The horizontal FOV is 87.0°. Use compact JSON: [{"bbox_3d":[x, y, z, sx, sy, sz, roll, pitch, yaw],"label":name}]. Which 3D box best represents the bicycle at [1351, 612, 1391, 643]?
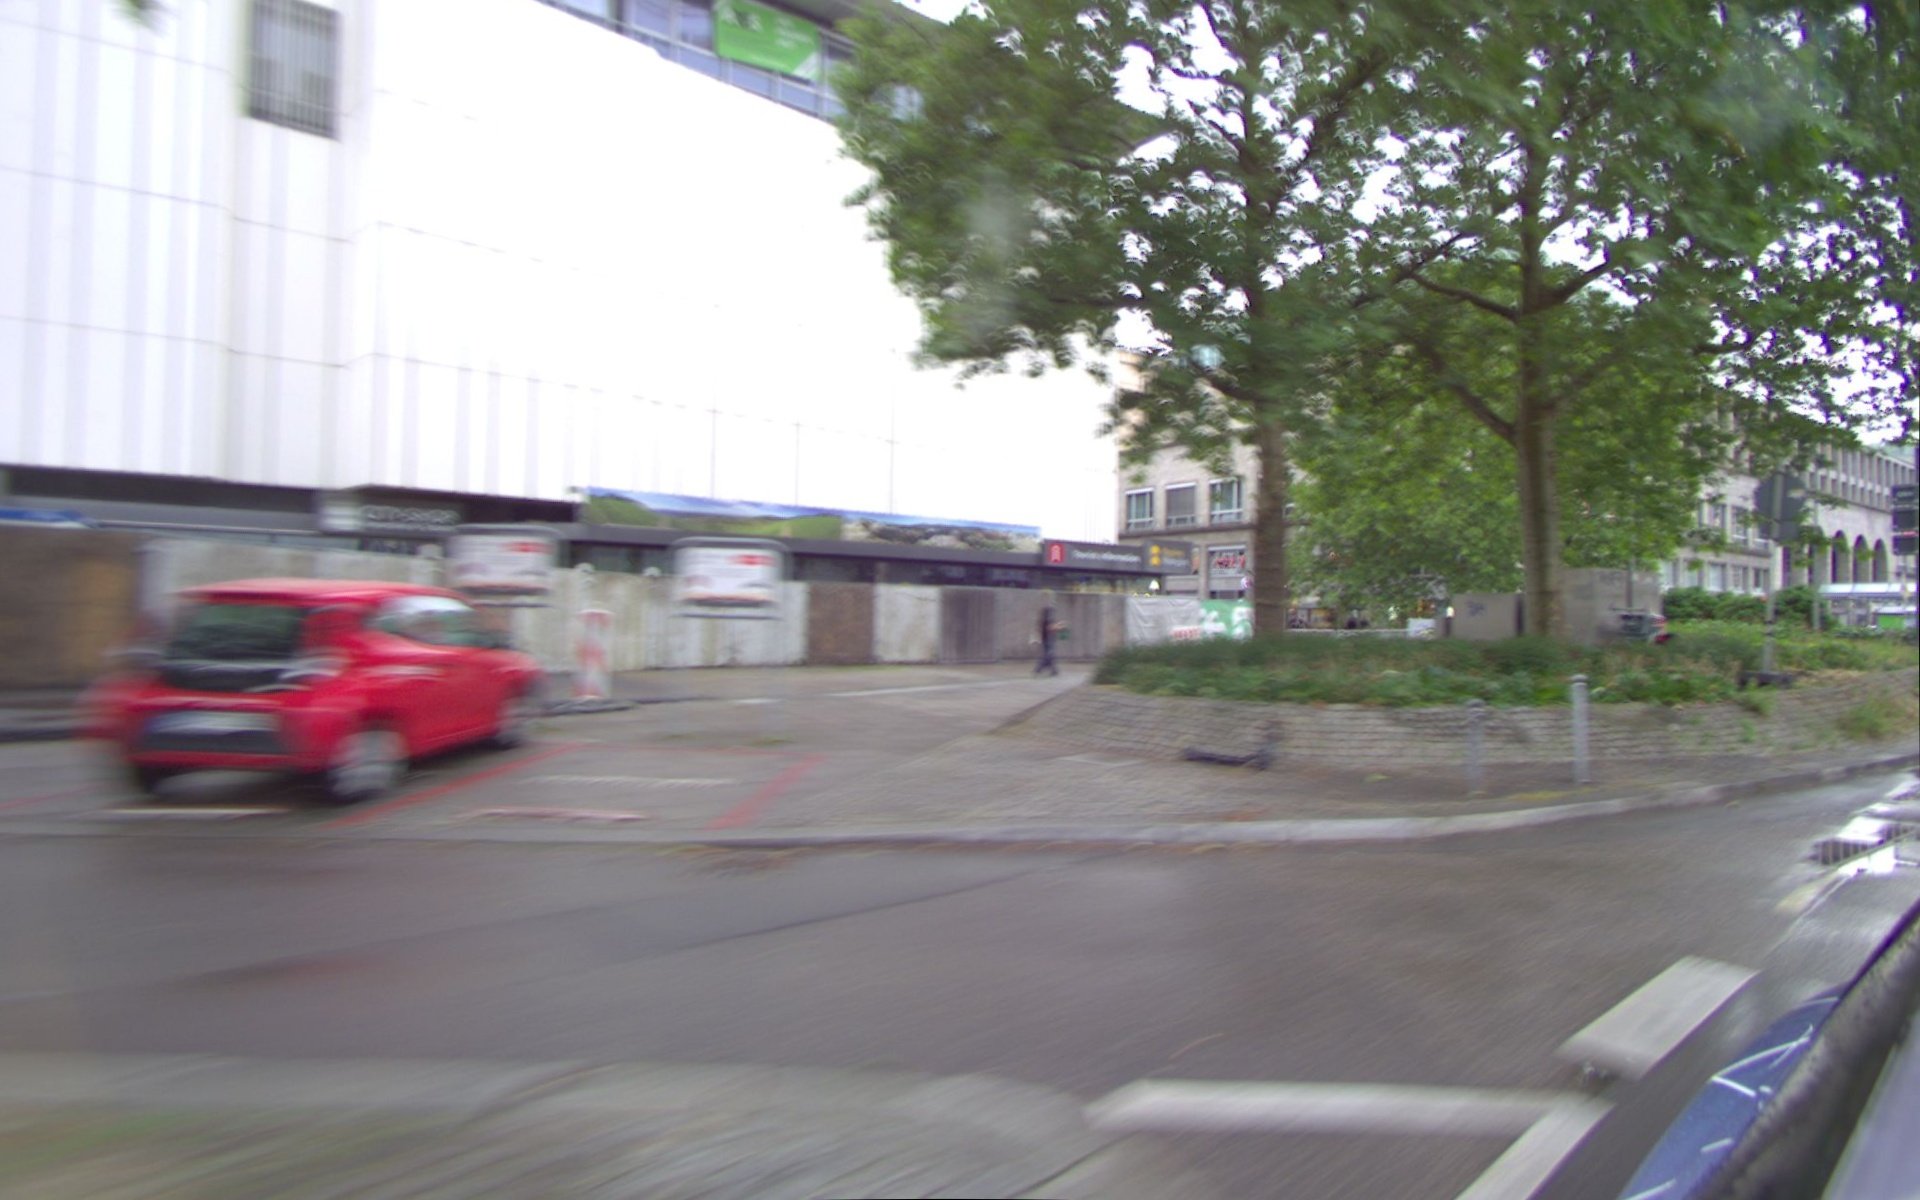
[{"bbox_3d":[21.234,1.438,52.252,2.088,1.582,0.796,2,-2,-29],"label":"bicycle"}]

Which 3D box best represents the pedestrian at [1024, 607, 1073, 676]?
[{"bbox_3d":[1.945,0.907,22.245,0.906,1.487,0.551,2,-1,-31],"label":"pedestrian"}]

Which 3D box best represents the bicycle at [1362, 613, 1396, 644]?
[{"bbox_3d":[22.542,1.518,54.408,1.955,1.655,0.618,2,-2,-29],"label":"bicycle"}]

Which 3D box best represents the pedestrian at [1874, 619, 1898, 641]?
[{"bbox_3d":[66.952,2.151,73.148,0.974,1.610,0.788,1,-1,1],"label":"pedestrian"}]

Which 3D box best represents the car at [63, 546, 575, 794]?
[{"bbox_3d":[-4.657,0.492,8.072,1.702,1.525,3.615,-1,-2,2],"label":"car"}]
